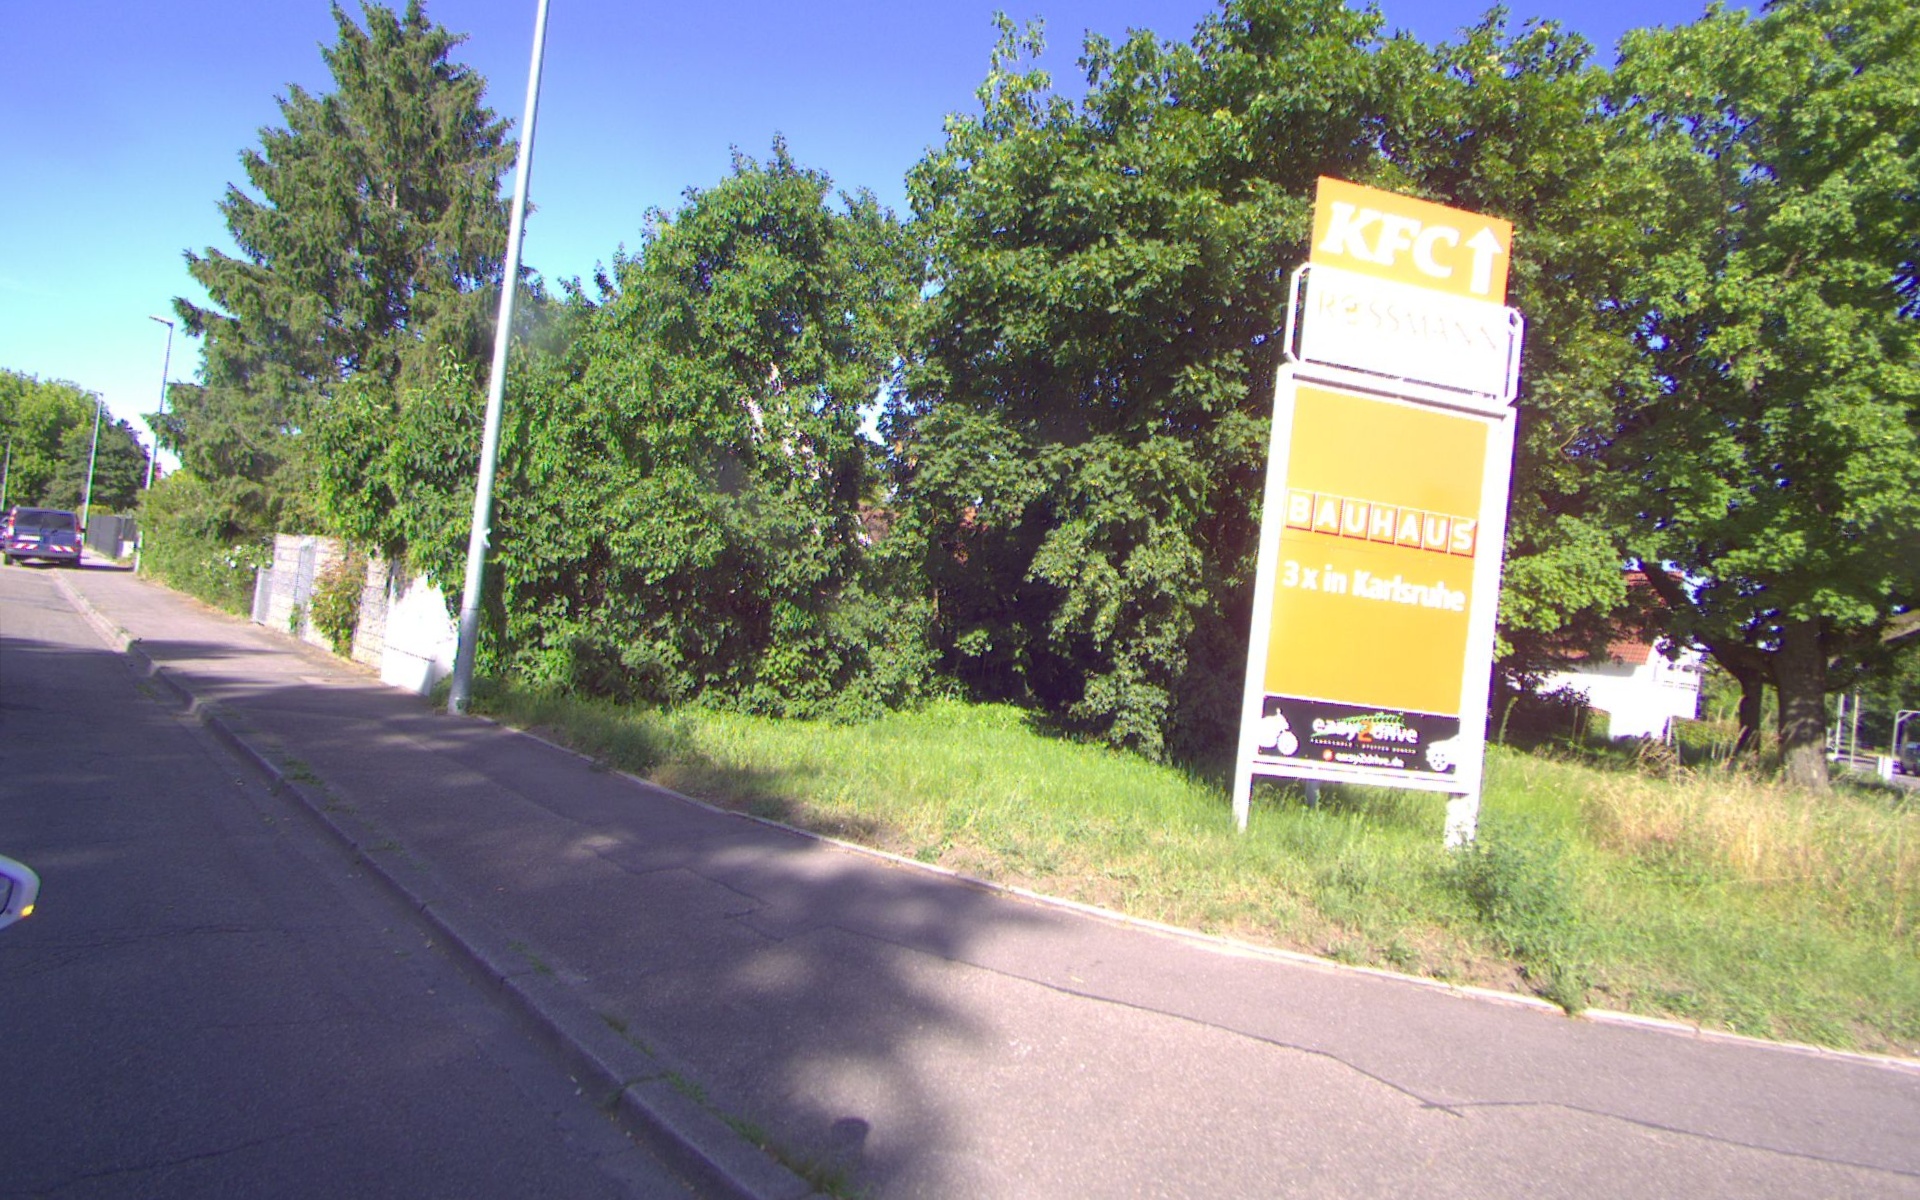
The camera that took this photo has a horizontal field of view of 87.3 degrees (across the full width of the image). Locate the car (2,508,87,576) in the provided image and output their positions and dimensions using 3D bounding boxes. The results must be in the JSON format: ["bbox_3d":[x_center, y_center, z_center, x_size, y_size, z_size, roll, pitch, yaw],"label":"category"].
[{"bbox_3d":[-30.966,-1.974,33.984,1.832,1.930,4.640,8,-2,-44],"label":"car"}]

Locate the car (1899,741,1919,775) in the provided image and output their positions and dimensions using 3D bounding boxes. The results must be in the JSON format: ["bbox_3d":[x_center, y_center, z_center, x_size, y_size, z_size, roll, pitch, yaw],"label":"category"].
[{"bbox_3d":[57.459,9.462,59.650,1.812,1.819,3.904,3,-3,32],"label":"car"}]

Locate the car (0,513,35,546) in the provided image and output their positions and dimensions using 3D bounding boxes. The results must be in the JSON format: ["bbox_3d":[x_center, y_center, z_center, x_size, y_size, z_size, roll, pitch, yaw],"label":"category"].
[{"bbox_3d":[-56.961,-4.225,60.470,1.773,1.744,4.242,7,-2,-44],"label":"car"}]

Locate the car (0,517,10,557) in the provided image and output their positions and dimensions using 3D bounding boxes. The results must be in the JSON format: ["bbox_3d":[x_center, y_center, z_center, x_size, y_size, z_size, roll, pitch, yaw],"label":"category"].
[{"bbox_3d":[-39.570,-2.680,40.562,1.760,1.498,4.930,6,-1,-44],"label":"car"}]
